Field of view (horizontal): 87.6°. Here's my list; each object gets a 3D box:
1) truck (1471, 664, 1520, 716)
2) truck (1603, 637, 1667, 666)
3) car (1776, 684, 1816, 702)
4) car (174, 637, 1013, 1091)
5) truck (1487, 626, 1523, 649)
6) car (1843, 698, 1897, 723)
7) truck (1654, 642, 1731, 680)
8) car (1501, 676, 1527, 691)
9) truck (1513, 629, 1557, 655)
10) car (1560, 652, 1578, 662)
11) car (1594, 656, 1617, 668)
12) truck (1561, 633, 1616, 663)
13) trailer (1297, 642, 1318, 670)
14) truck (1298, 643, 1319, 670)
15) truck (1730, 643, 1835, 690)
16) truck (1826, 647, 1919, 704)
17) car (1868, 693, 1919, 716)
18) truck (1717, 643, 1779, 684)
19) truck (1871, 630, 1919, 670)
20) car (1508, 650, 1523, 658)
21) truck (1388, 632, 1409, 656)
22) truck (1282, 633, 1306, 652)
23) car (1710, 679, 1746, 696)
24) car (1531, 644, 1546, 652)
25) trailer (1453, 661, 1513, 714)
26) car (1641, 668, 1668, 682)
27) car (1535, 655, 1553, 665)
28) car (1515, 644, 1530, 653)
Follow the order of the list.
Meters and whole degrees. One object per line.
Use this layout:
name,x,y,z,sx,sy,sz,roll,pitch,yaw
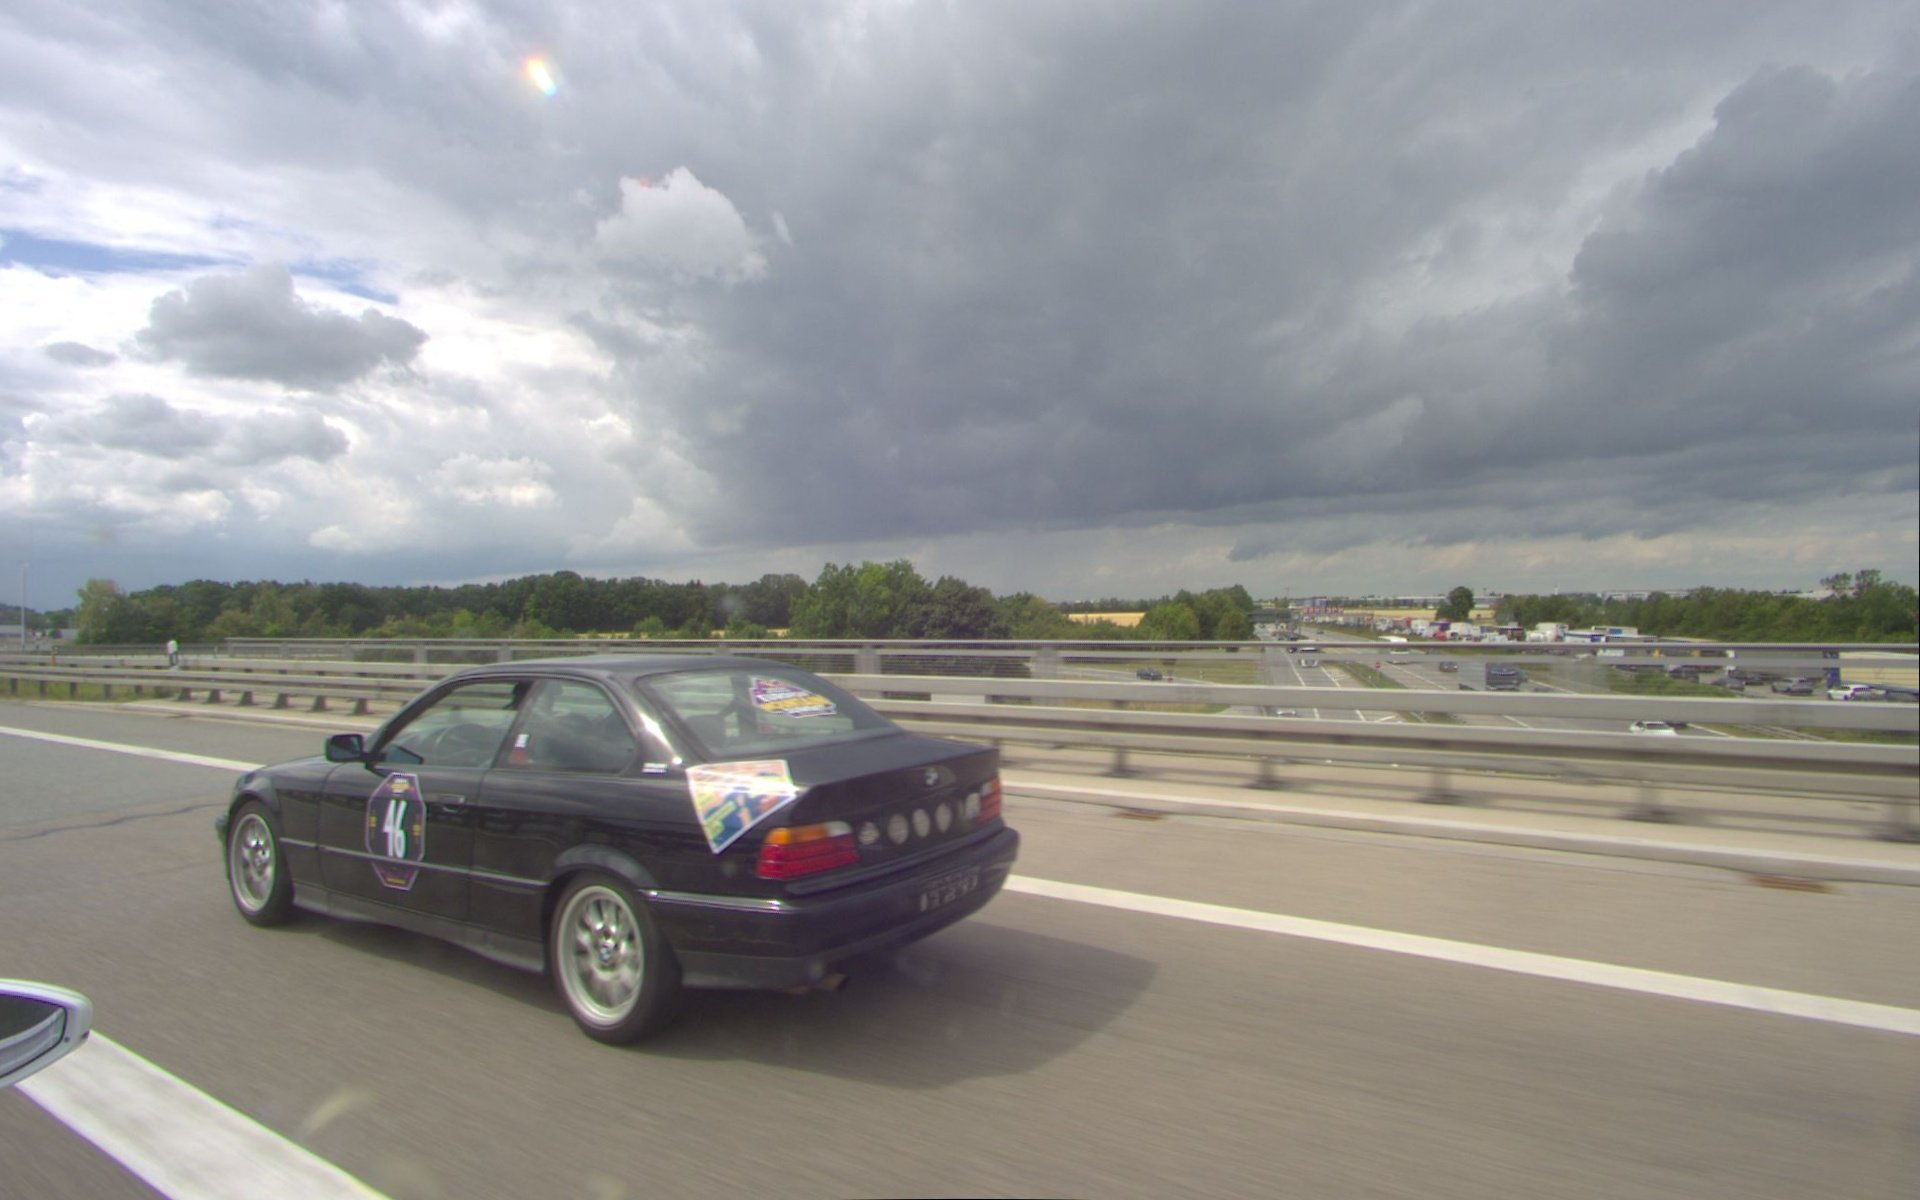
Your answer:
truck,49.669,8.295,93.082,3.076,4.341,5.605,0,-1,18
truck,102.855,7.741,152.886,4.069,4.083,14.875,0,-2,18
car,81.950,9.095,98.214,1.707,1.505,3.994,0,-1,19
car,-2.018,0.867,4.948,4.305,1.297,1.700,0,-2,34
truck,121.245,8.301,223.071,4.012,4.883,15.339,0,-2,16
car,72.014,8.744,79.327,1.643,1.576,3.994,0,-1,18
truck,97.087,7.959,133.125,3.938,4.612,15.282,0,-2,19
car,65.409,9.808,118.258,1.965,1.638,3.995,0,-3,19
truck,114.916,8.315,200.423,4.012,4.883,15.339,0,-2,16
car,103.065,9.587,169.516,1.707,1.505,3.995,0,-1,17
car,90.987,8.754,141.233,1.707,1.505,3.994,0,-1,18
truck,108.250,8.110,172.689,4.011,4.883,14.475,0,-2,16
trailer,58.616,9.375,169.271,2.936,4.152,14.231,0,-1,17
truck,56.453,9.122,162.316,2.936,4.152,6.521,0,-1,18
truck,90.625,7.193,110.843,3.937,4.612,14.865,0,-2,19
truck,84.823,6.677,90.337,3.936,4.612,16.345,0,-2,18
car,77.241,8.618,82.783,1.707,1.505,3.994,0,-1,18
truck,93.311,7.421,118.682,3.862,4.569,6.285,0,-1,18
truck,125.370,6.510,128.427,3.878,5.105,12.994,1,-1,-10
car,104.587,10.172,188.463,1.707,1.505,3.995,0,-1,17
truck,71.248,7.067,162.843,2.451,3.727,5.160,1,0,16
truck,73.799,9.333,221.547,3.921,4.111,19.031,0,-2,15
car,79.426,9.061,103.627,1.707,1.505,3.994,0,-1,18
car,108.161,8.974,187.264,1.707,1.505,3.995,0,-1,17
trailer,51.813,8.505,99.554,3.076,4.341,13.933,0,-1,18
car,85.530,9.229,123.400,1.643,1.576,3.994,0,-1,18
car,98.393,10.091,168.639,1.707,1.505,3.995,0,-1,17
car,109.990,9.471,195.733,1.707,1.505,3.995,0,-1,17
